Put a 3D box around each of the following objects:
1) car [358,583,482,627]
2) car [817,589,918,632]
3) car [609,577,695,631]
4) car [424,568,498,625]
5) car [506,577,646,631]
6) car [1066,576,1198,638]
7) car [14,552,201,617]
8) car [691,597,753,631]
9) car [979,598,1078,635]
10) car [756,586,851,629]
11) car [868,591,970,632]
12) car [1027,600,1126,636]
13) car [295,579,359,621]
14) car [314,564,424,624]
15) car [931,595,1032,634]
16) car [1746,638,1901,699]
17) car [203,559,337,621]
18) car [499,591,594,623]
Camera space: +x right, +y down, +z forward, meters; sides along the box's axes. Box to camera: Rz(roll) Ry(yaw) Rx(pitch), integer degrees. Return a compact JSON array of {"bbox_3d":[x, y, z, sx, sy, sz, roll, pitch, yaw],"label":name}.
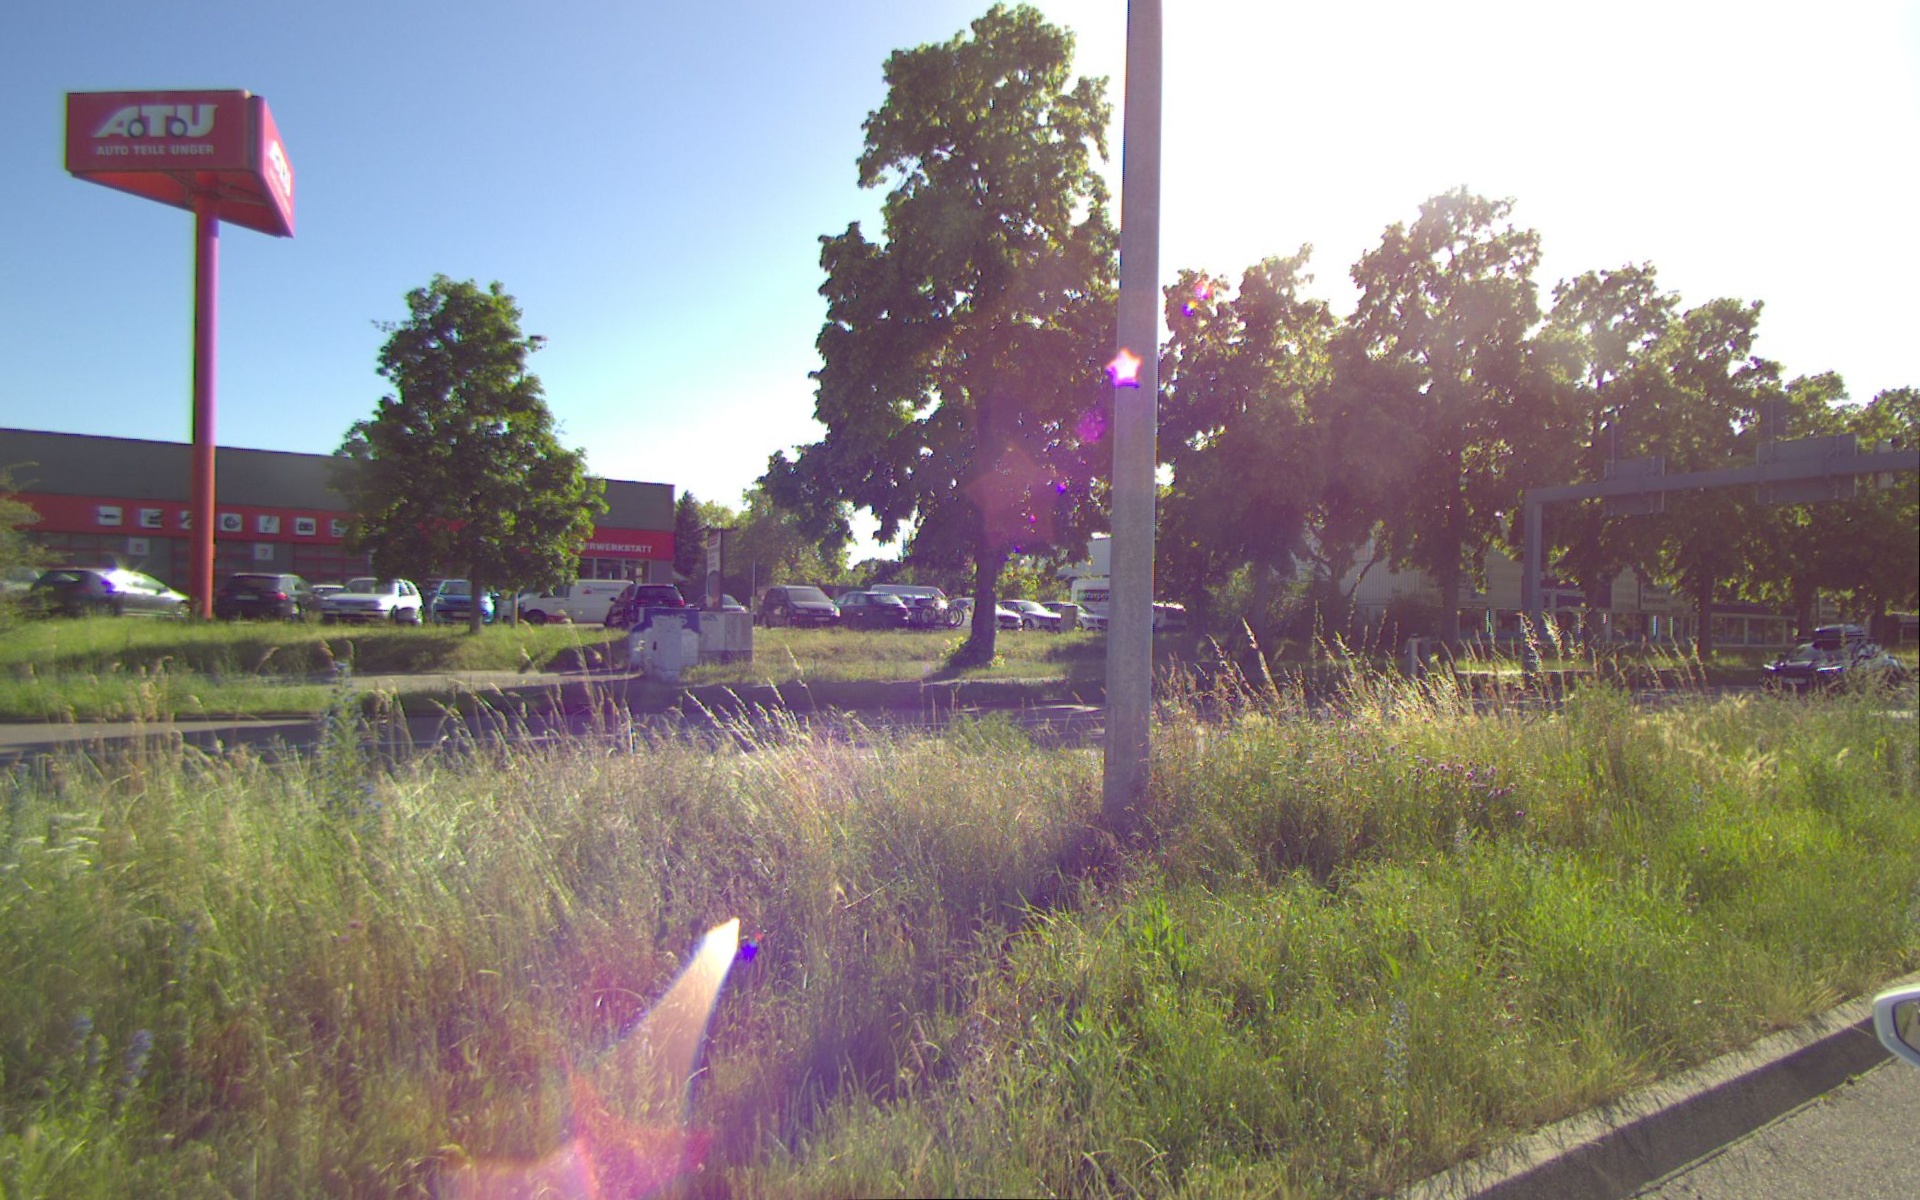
[{"bbox_3d":[-19.930,0.206,37.202,3.935,1.474,1.772,2,-1,-29],"label":"car"},{"bbox_3d":[-3.342,0.373,35.779,1.926,1.407,4.095,2,-1,-33],"label":"car"},{"bbox_3d":[-9.808,0.159,31.769,1.921,1.572,4.103,2,-1,-27],"label":"car"},{"bbox_3d":[-14.809,-0.063,30.002,1.794,1.572,4.107,2,-1,-24],"label":"car"},{"bbox_3d":[-15.261,0.179,40.002,5.063,1.982,1.773,2,-1,-27],"label":"car"},{"bbox_3d":[7.236,0.321,42.861,2.183,2.465,5.843,2,-1,-33],"label":"car"},{"bbox_3d":[-22.895,-0.346,27.208,1.860,1.572,4.127,1,-1,-7],"label":"car"},{"bbox_3d":[-11.100,0.635,46.628,1.871,1.474,4.103,2,-1,-27],"label":"car"},{"bbox_3d":[2.698,0.663,40.416,1.926,1.407,4.094,2,-1,-33],"label":"car"},{"bbox_3d":[-5.526,0.276,35.041,1.924,1.407,4.098,2,-1,-30],"label":"car"},{"bbox_3d":[-1.608,0.449,37.314,1.923,1.407,4.600,2,-1,-29],"label":"car"},{"bbox_3d":[4.806,0.761,41.930,1.926,1.407,4.094,2,-1,-33],"label":"car"},{"bbox_3d":[-24.413,0.025,38.864,1.873,1.474,4.099,2,-1,-30],"label":"car"},{"bbox_3d":[-16.923,-0.126,28.977,1.866,1.572,4.114,1,-1,-19],"label":"car"},{"bbox_3d":[0.769,0.572,38.697,1.926,1.407,4.094,2,-1,-33],"label":"car"},{"bbox_3d":[23.915,1.868,27.789,4.518,1.563,1.868,2,-3,-30],"label":"car"},{"bbox_3d":[-19.182,-0.225,28.143,1.865,1.572,4.117,1,-1,-17],"label":"car"},{"bbox_3d":[-20.753,0.371,50.451,4.235,1.474,1.881,2,-1,-29],"label":"car"}]
